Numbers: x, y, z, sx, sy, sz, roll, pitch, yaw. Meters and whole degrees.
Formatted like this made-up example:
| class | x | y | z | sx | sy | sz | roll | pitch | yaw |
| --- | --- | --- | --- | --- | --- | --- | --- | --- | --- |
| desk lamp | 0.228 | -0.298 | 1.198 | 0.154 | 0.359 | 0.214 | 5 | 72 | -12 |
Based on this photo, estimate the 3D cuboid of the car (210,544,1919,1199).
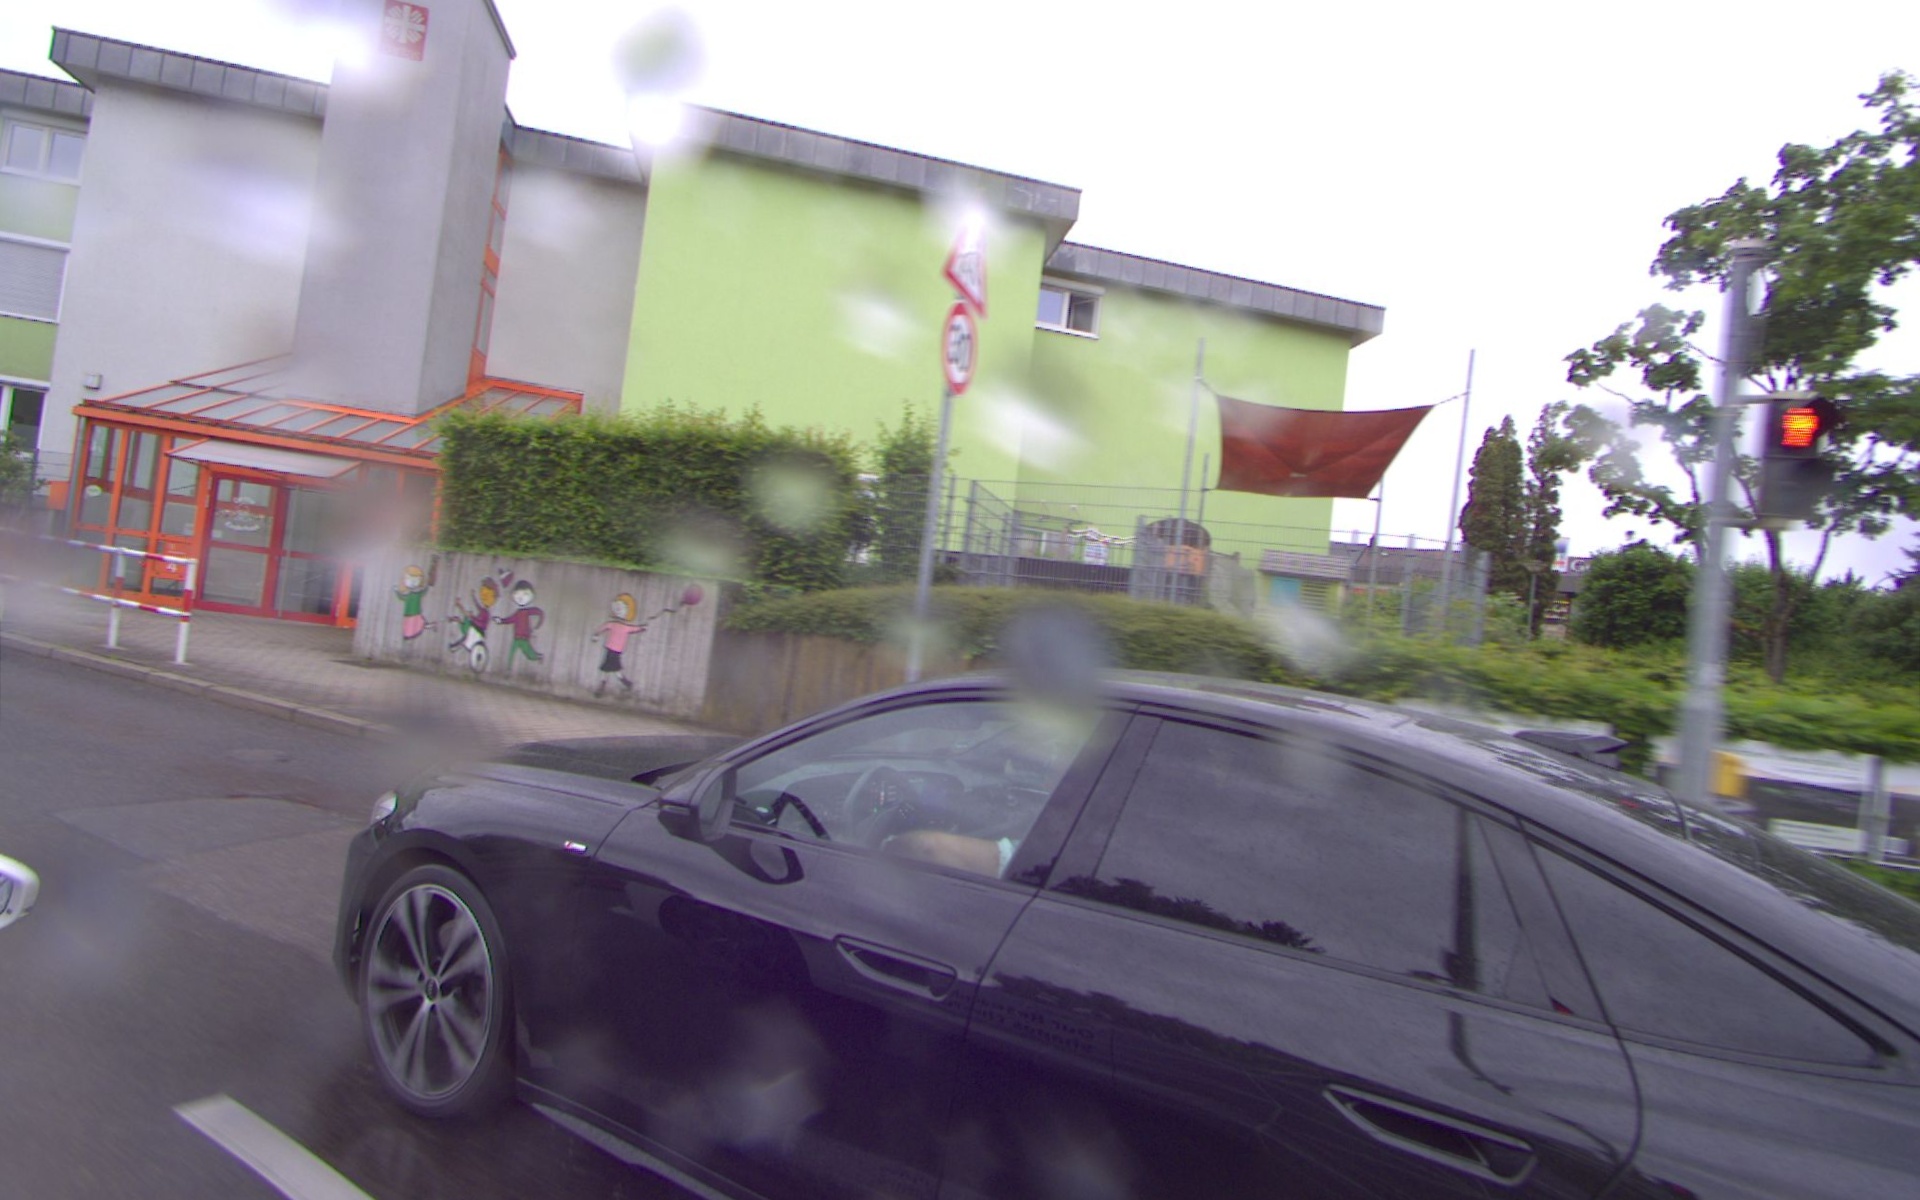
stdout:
| class | x | y | z | sx | sy | sz | roll | pitch | yaw |
| --- | --- | --- | --- | --- | --- | --- | --- | --- | --- |
| car | 0.139 | 0.797 | 2.793 | 4.661 | 1.441 | 1.870 | 5 | -2 | 31 |
